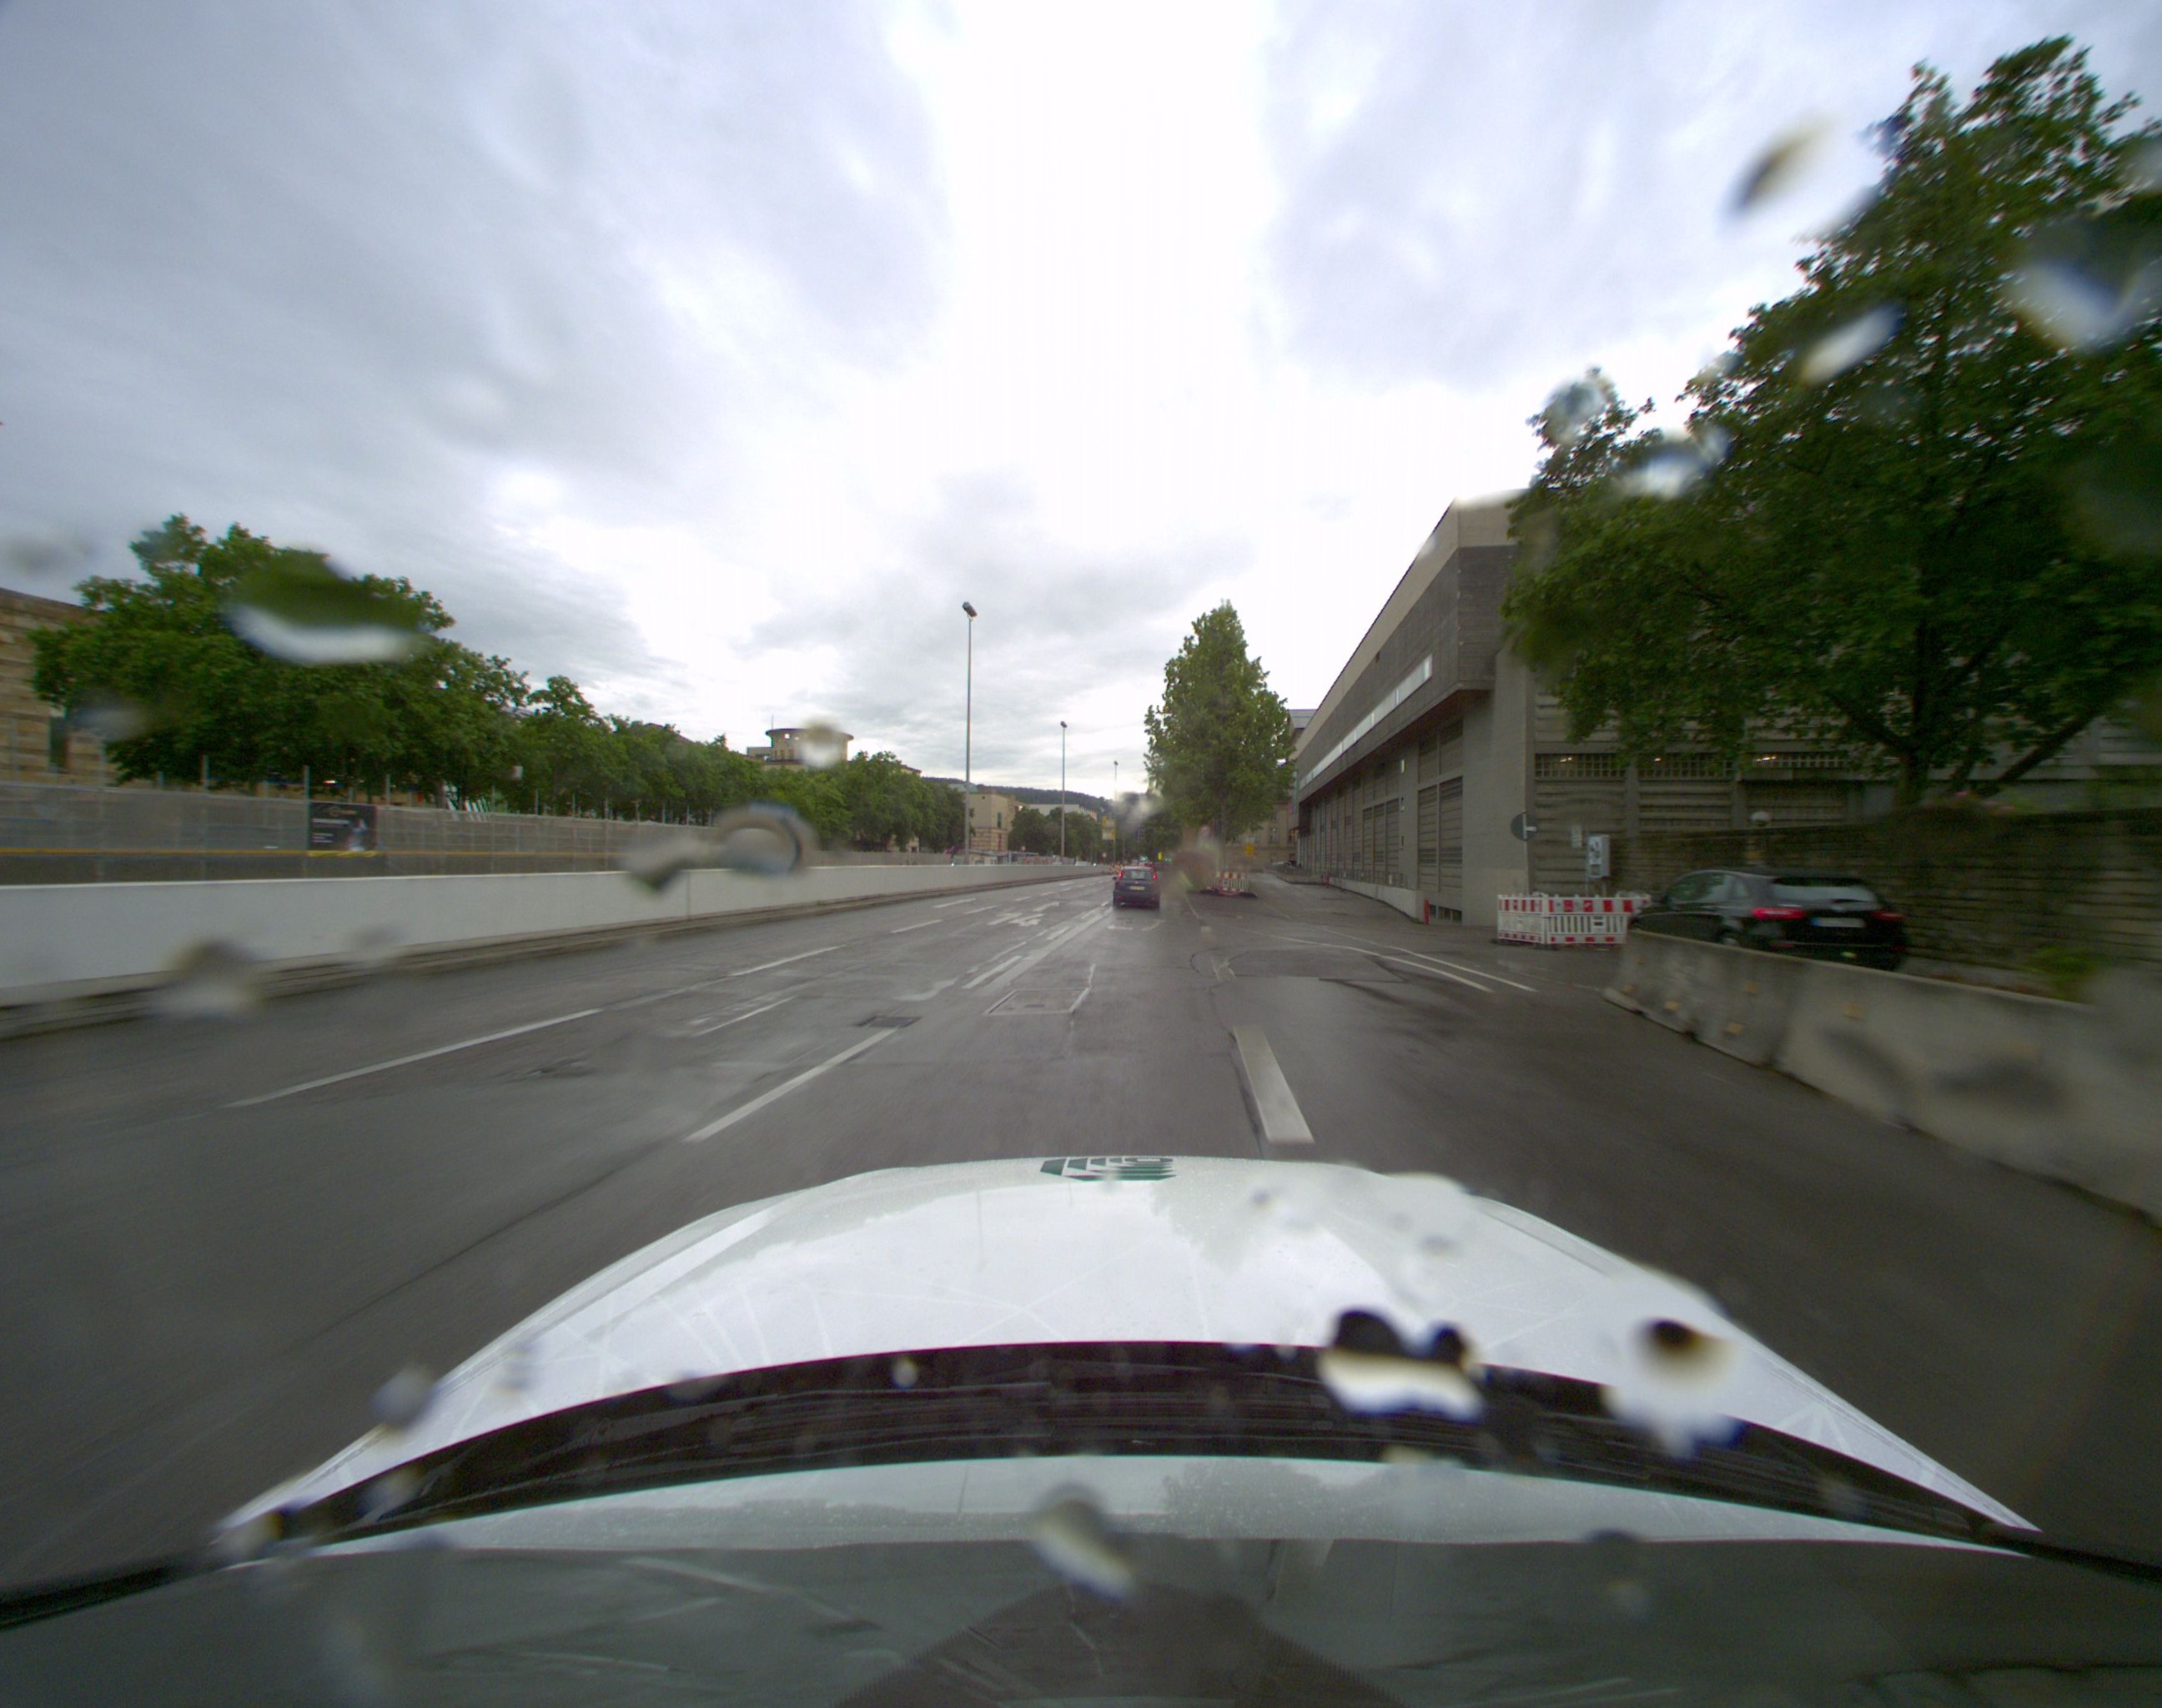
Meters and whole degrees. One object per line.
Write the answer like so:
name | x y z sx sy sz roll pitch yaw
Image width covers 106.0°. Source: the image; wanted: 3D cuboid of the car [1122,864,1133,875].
car | 6.205 2.044 108.972 1.380 1.386 3.069 0 -1 3

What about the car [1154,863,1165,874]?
car | 14.719 2.678 152.302 1.983 2.013 4.008 2 0 7

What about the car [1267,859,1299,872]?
car | 27.616 1.584 111.460 3.965 1.560 1.937 -1 -3 8

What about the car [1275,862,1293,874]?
car | 29.707 2.088 119.210 1.982 1.760 5.107 0 -2 8

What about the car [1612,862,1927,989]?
car | 9.932 0.916 12.276 1.792 1.552 4.340 0 -1 12

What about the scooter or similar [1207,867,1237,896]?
scooter or similar | 6.677 1.306 38.655 1.348 1.286 0.620 3 -2 8

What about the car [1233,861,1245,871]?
car | 28.722 2.215 147.779 1.980 1.709 4.012 2 -1 12

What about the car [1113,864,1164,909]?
car | 2.019 1.107 29.394 1.663 1.427 3.760 3 0 3

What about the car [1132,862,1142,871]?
car | 13.197 2.882 191.755 1.985 2.014 4.002 3 -2 3

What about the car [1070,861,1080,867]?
car | -1.294 2.123 173.140 1.617 1.195 3.412 2 0 7

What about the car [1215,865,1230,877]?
car | 22.000 2.570 126.633 1.980 1.708 4.013 2 0 12
